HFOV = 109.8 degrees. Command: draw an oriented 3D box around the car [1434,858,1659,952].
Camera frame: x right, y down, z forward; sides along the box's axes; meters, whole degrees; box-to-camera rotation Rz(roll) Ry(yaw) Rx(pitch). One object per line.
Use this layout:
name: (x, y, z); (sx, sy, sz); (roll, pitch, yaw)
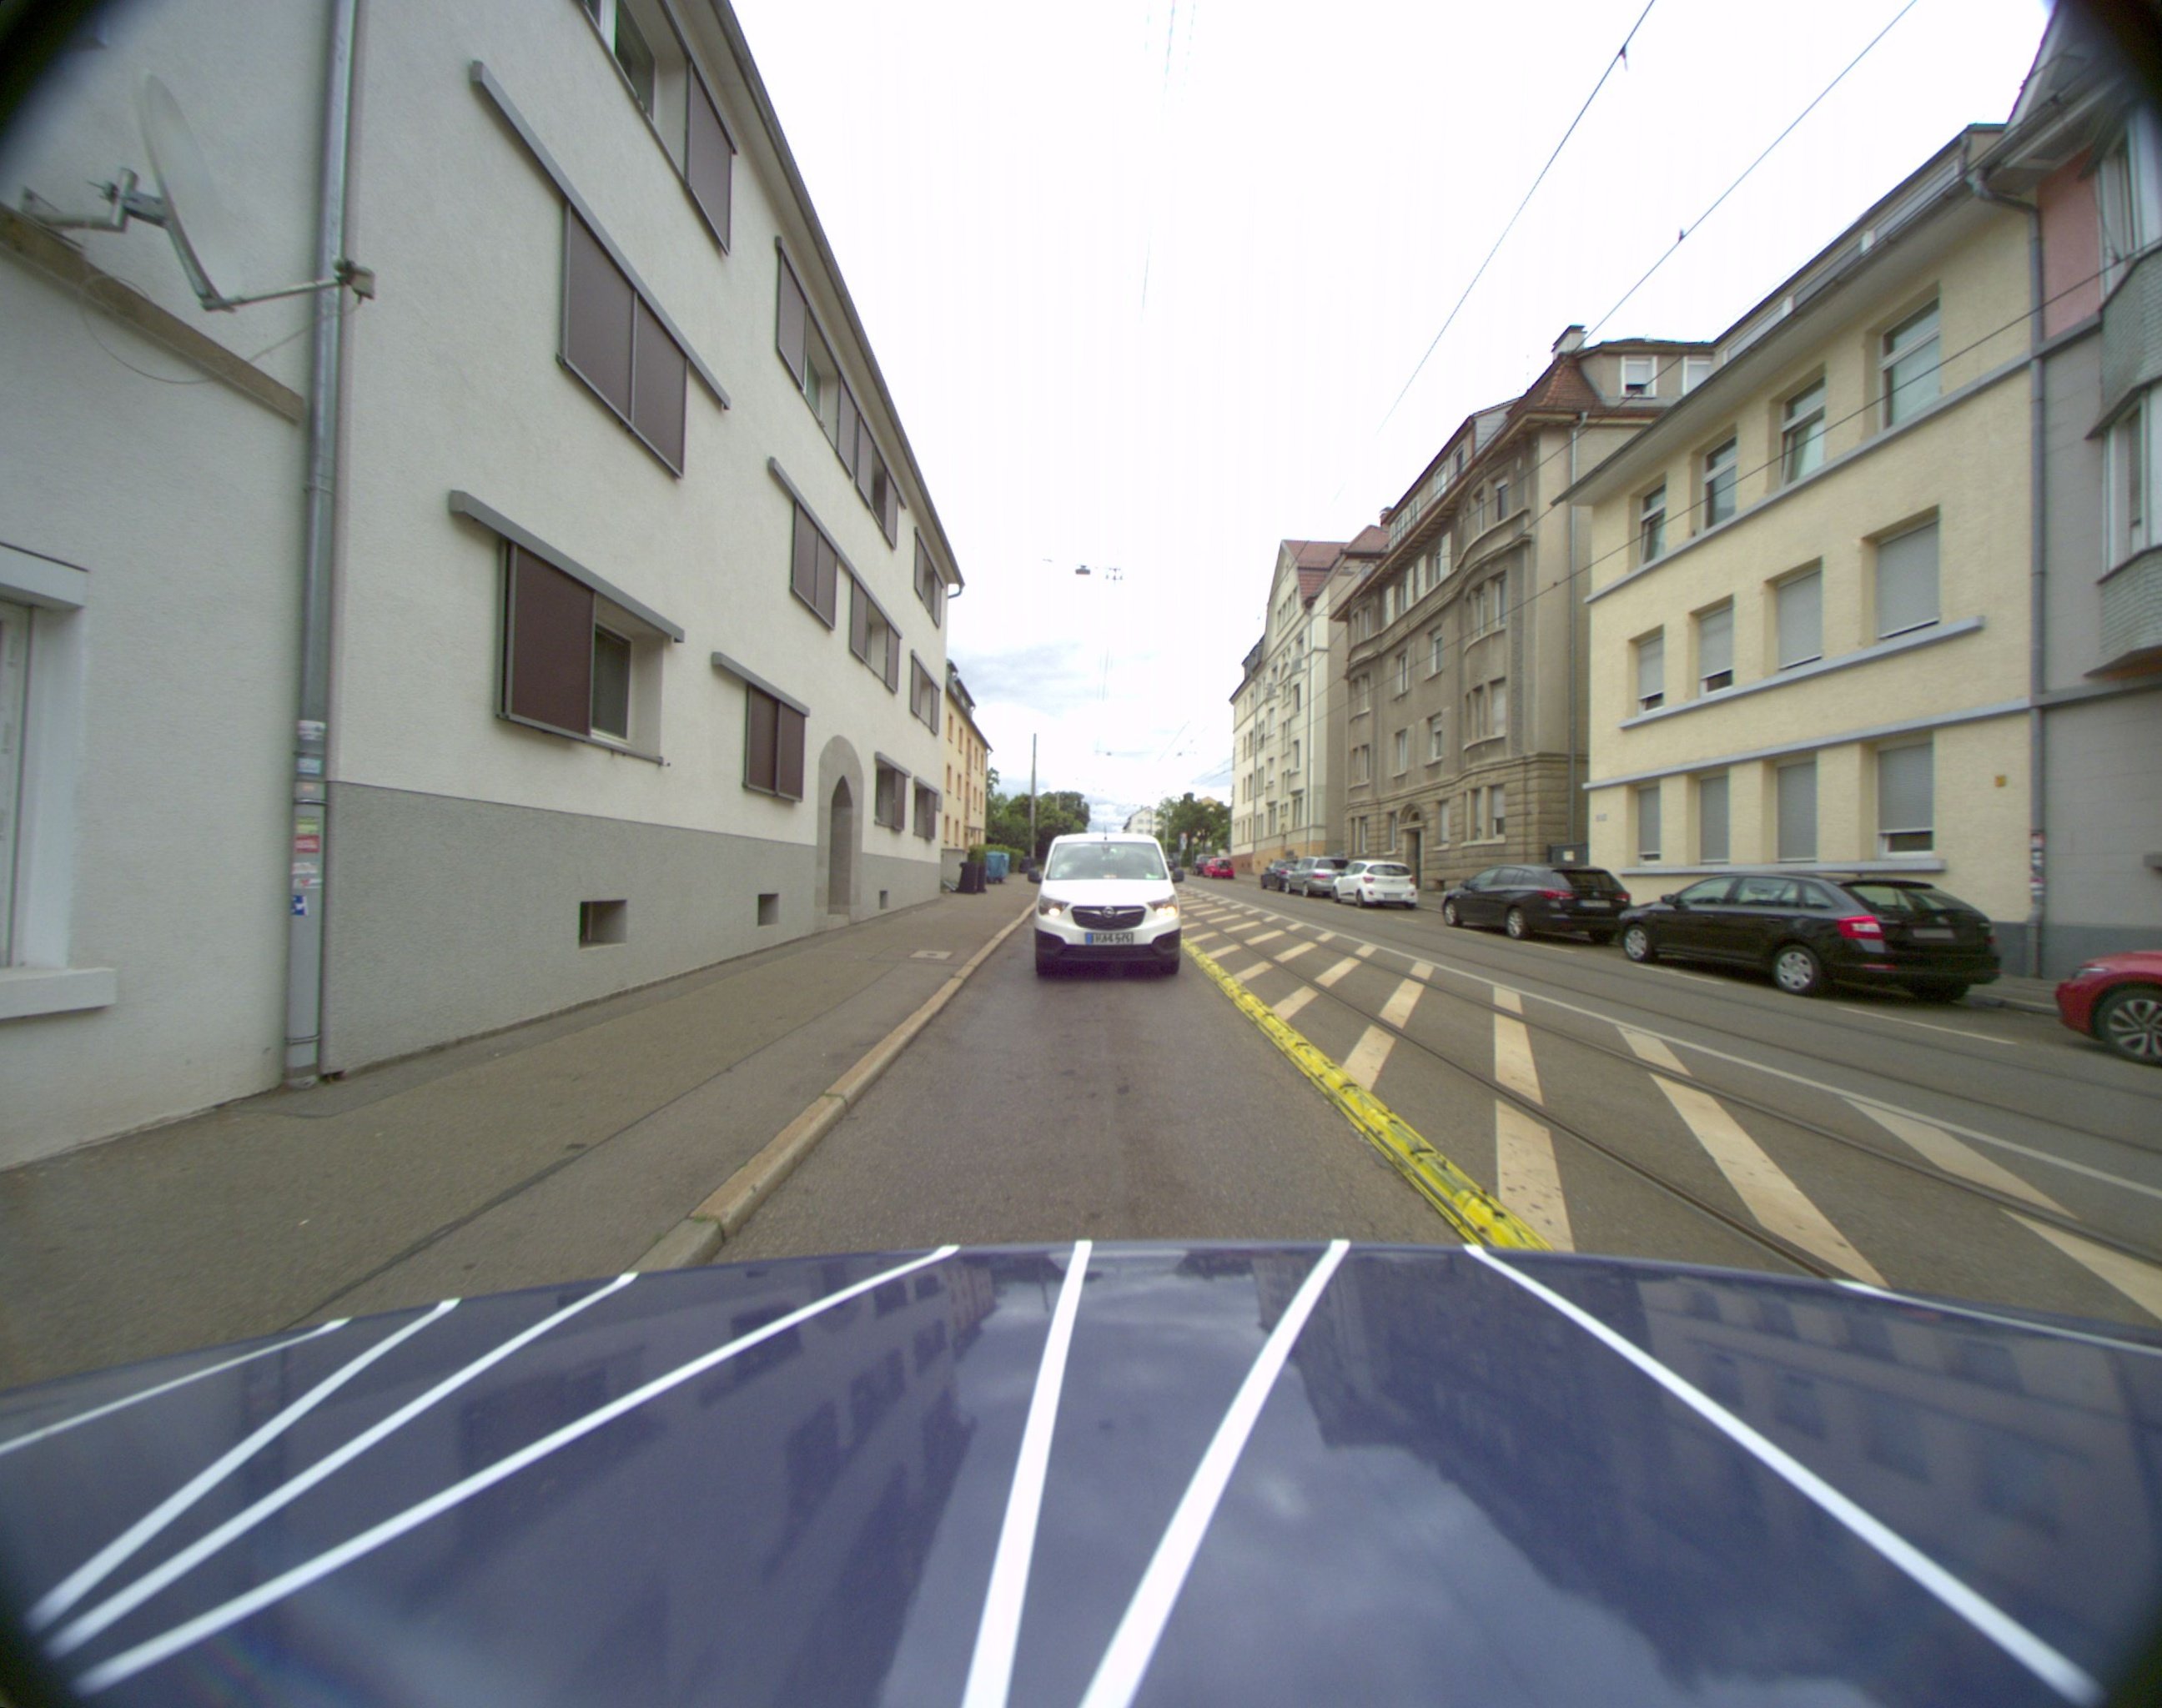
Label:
car: (9.142, 0.899, 15.469); (1.789, 1.502, 4.526); (2, 1, 1)

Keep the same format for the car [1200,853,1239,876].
car: (9.813, 0.692, 54.072); (1.743, 1.450, 3.950); (2, 1, -3)

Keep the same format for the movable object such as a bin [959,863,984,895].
movable object such as a bin: (-3.557, 0.811, 24.734); (0.637, 1.003, 0.602); (4, 0, 1)

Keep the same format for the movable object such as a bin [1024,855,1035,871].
movable object such as a bin: (-3.359, 0.615, 49.904); (0.669, 1.053, 0.539); (0, 0, 1)

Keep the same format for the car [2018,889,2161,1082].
car: (9.194, 1.084, 4.582); (1.789, 1.430, 4.261); (2, 1, 1)

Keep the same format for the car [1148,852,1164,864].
car: (10.103, 0.544, 102.553); (1.743, 1.517, 3.951); (2, 1, 0)

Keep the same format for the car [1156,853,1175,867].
car: (10.099, 0.692, 90.999); (1.743, 1.517, 3.951); (2, 1, 1)

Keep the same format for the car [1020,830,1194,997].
car: (0.325, 0.632, 10.678); (1.888, 1.828, 4.676); (-1, 1, 1)

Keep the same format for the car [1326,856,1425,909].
car: (9.389, 0.856, 24.524); (1.743, 1.502, 3.800); (1, 1, 1)

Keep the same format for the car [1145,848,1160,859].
car: (10.185, -0.051, 108.235); (1.743, 1.517, 3.951); (2, 1, 0)

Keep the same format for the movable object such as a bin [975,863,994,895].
movable object such as a bin: (-3.251, 0.837, 25.560); (0.565, 1.003, 0.498); (4, 0, -8)

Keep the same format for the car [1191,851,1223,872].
car: (9.709, 0.572, 58.999); (1.743, 1.517, 3.951); (2, 1, 0)

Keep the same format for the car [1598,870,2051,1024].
car: (9.157, 1.009, 10.009); (1.789, 1.402, 4.241); (2, 1, 1)

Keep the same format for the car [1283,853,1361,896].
car: (9.434, 0.745, 30.030); (1.743, 1.558, 4.142); (0, 1, 0)

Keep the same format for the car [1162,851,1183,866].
car: (10.116, 0.486, 84.471); (1.743, 1.517, 3.951); (2, 1, 0)

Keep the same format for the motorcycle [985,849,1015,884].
motorcycle: (-3.465, 0.522, 32.734); (0.731, 1.382, 1.937); (5, 0, 8)

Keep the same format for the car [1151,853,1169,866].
car: (10.084, 0.643, 97.181); (1.743, 1.517, 3.951); (2, 1, 0)

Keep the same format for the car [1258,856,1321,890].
car: (9.466, 0.820, 34.737); (1.743, 1.373, 4.044); (0, 1, 0)
